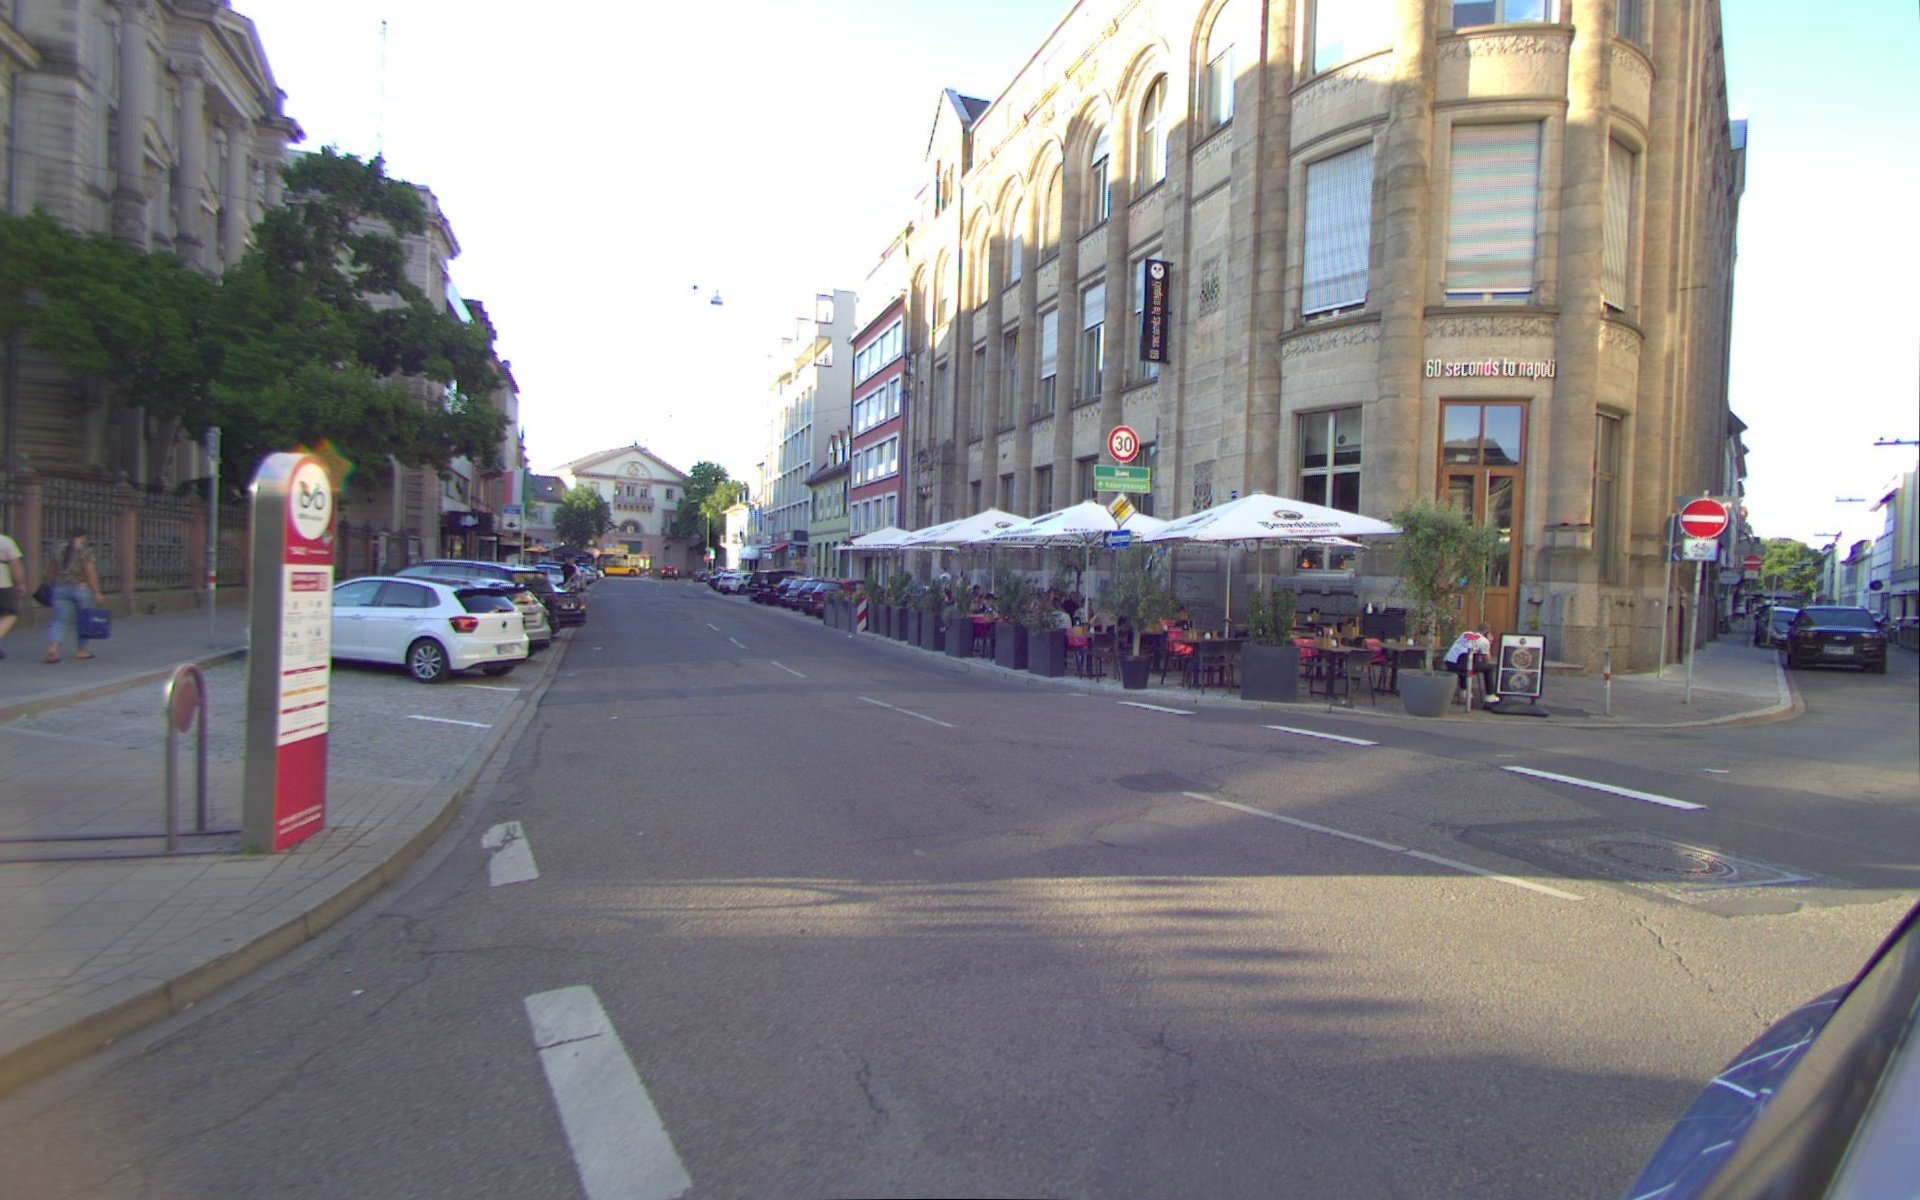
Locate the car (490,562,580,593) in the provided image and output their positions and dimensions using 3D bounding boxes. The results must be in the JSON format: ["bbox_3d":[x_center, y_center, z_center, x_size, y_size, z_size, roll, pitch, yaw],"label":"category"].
[{"bbox_3d":[-20.719,-1.071,49.509,3.915,1.430,1.759,1,1,-19],"label":"car"}]

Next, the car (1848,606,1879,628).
[{"bbox_3d":[90.120,1.679,100.974,1.990,2.067,4.395,2,1,39],"label":"car"}]

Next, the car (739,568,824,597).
[{"bbox_3d":[-8.971,-0.867,51.027,1.746,1.430,4.143,1,1,37],"label":"car"}]

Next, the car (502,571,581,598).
[{"bbox_3d":[-23.338,-0.845,56.552,3.915,1.430,1.759,1,1,-19],"label":"car"}]

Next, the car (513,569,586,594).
[{"bbox_3d":[-24.174,-1.100,59.724,3.915,1.430,1.759,1,1,-19],"label":"car"}]

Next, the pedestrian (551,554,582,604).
[{"bbox_3d":[-14.192,-0.760,36.528,0.953,1.772,1.005,1,0,-17],"label":"pedestrian"}]

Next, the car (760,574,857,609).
[{"bbox_3d":[-6.386,-0.363,42.879,1.746,1.430,3.976,1,1,37],"label":"car"}]

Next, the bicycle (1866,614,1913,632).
[{"bbox_3d":[68.752,1.706,74.869,0.771,1.193,2.477,0,1,-44],"label":"bicycle"}]

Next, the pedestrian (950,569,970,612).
[{"bbox_3d":[0.011,-0.388,41.296,0.585,1.752,0.630,1,1,-23],"label":"pedestrian"}]

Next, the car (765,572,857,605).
[{"bbox_3d":[-6.706,-0.519,45.949,1.746,1.430,4.089,1,1,37],"label":"car"}]

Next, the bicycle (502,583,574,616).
[{"bbox_3d":[-14.420,-0.015,34.634,2.254,1.104,0.718,0,1,-23],"label":"bicycle"}]

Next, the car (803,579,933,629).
[{"bbox_3d":[-2.773,0.100,31.160,1.746,1.430,4.014,1,1,37],"label":"car"}]

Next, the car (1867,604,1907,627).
[{"bbox_3d":[72.922,1.187,79.670,1.990,1.697,4.395,2,1,39],"label":"car"}]

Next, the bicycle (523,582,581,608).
[{"bbox_3d":[-17.400,-0.209,43.137,2.254,1.104,0.718,0,1,-23],"label":"bicycle"}]

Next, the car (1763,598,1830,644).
[{"bbox_3d":[33.353,0.811,40.434,1.769,1.687,3.947,2,1,36],"label":"car"}]

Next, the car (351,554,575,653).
[{"bbox_3d":[-10.095,0.034,20.614,3.946,1.742,1.746,3,1,17],"label":"car"}]

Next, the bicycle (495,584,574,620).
[{"bbox_3d":[-13.347,0.051,31.809,2.254,1.104,0.718,0,1,-23],"label":"bicycle"}]

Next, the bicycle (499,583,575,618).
[{"bbox_3d":[-13.679,0.029,32.774,2.254,1.104,0.718,0,1,-23],"label":"bicycle"}]

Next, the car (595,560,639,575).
[{"bbox_3d":[-42.656,-4.064,125.906,4.783,1.757,1.754,0,1,-38],"label":"car"}]

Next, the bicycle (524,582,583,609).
[{"bbox_3d":[-16.997,-0.189,42.360,2.254,1.104,0.718,0,1,-23],"label":"bicycle"}]

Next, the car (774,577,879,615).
[{"bbox_3d":[-5.242,-0.175,40.231,1.746,1.430,4.126,1,1,37],"label":"car"}]

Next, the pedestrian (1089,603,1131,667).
[{"bbox_3d":[2.906,0.676,19.627,0.588,1.203,0.574,2,0,-16],"label":"pedestrian"}]

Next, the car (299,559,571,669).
[{"bbox_3d":[-9.168,0.199,17.804,3.935,1.544,1.751,4,1,9],"label":"car"}]

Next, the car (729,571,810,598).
[{"bbox_3d":[-10.359,-0.844,55.163,1.905,1.430,4.143,1,1,37],"label":"car"}]

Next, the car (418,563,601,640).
[{"bbox_3d":[-10.441,-0.007,23.450,3.958,1.628,1.740,1,1,25],"label":"car"}]

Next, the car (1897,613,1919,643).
[{"bbox_3d":[50.888,1.472,53.400,1.714,1.479,4.079,2,1,37],"label":"car"}]

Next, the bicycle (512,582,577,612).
[{"bbox_3d":[-15.719,-0.099,38.345,2.254,1.104,0.718,0,1,-23],"label":"bicycle"}]

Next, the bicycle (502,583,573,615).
[{"bbox_3d":[-14.801,-0.036,35.505,2.254,1.104,0.718,0,1,-23],"label":"bicycle"}]

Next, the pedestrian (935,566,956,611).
[{"bbox_3d":[-0.575,-0.465,39.761,0.616,1.752,0.598,1,1,-25],"label":"pedestrian"}]

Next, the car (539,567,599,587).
[{"bbox_3d":[-29.835,-1.734,77.223,3.924,1.430,1.756,1,1,0],"label":"car"}]

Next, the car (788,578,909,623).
[{"bbox_3d":[-3.698,-0.002,34.193,1.746,1.430,4.051,1,1,37],"label":"car"}]

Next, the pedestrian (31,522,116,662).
[{"bbox_3d":[-11.088,-0.094,12.683,0.629,1.691,0.706,3,0,-33],"label":"pedestrian"}]

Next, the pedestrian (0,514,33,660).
[{"bbox_3d":[-11.541,-0.169,11.994,0.629,1.691,0.706,3,0,-33],"label":"pedestrian"}]

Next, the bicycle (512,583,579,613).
[{"bbox_3d":[-15.276,-0.075,37.318,2.254,1.104,0.718,0,1,-23],"label":"bicycle"}]

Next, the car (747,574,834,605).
[{"bbox_3d":[-8.061,-0.495,48.416,1.746,1.430,4.051,1,1,37],"label":"car"}]

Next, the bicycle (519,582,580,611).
[{"bbox_3d":[-16.332,-0.143,40.285,2.254,1.104,0.718,0,1,-23],"label":"bicycle"}]

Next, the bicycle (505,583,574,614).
[{"bbox_3d":[-15.091,-0.056,36.387,2.254,1.104,0.718,0,1,-23],"label":"bicycle"}]

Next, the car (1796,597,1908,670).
[{"bbox_3d":[24.730,0.861,28.216,1.990,1.805,4.866,2,1,38],"label":"car"}]

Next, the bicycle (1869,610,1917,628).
[{"bbox_3d":[66.237,1.362,71.845,0.771,1.193,2.477,0,1,-44],"label":"bicycle"}]

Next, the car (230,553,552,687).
[{"bbox_3d":[-8.366,0.250,15.025,3.848,1.464,1.751,6,2,9],"label":"car"}]

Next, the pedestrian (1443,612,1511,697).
[{"bbox_3d":[7.678,0.791,15.030,0.807,1.203,0.607,2,0,-40],"label":"pedestrian"}]

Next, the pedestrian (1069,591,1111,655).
[{"bbox_3d":[2.639,0.465,20.585,0.588,1.261,0.687,2,0,-16],"label":"pedestrian"}]

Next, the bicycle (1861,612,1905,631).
[{"bbox_3d":[70.385,1.621,77.191,0.771,1.347,2.477,0,1,-44],"label":"bicycle"}]

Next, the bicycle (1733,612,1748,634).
[{"bbox_3d":[41.563,1.201,53.898,0.518,1.103,1.727,7,4,39],"label":"bicycle"}]

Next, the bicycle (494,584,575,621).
[{"bbox_3d":[-13.025,0.069,31.035,2.254,1.104,0.718,0,1,-23],"label":"bicycle"}]

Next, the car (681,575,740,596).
[{"bbox_3d":[-18.023,-1.030,73.163,1.746,1.430,3.956,1,1,37],"label":"car"}]

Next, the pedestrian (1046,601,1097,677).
[{"bbox_3d":[1.941,0.664,17.569,0.680,1.261,0.594,2,0,31],"label":"pedestrian"}]

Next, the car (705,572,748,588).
[{"bbox_3d":[-22.835,-1.961,99.053,3.915,1.430,1.759,1,1,-19],"label":"car"}]

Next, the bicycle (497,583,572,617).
[{"bbox_3d":[-14.134,0.006,33.667,2.254,1.104,0.718,0,1,-23],"label":"bicycle"}]

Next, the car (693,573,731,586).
[{"bbox_3d":[-27.685,-2.276,112.881,3.915,1.430,1.759,1,1,-19],"label":"car"}]

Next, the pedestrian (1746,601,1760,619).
[{"bbox_3d":[58.198,0.736,74.262,0.734,1.258,0.636,1,1,41],"label":"pedestrian"}]

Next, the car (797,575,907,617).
[{"bbox_3d":[-3.917,-0.159,37.112,1.746,1.430,4.014,1,1,37],"label":"car"}]

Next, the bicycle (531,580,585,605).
[{"bbox_3d":[-18.338,-0.328,46.135,2.254,1.104,0.718,0,1,-23],"label":"bicycle"}]

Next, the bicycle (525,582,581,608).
[{"bbox_3d":[-17.777,-0.234,44.255,2.254,1.104,0.718,0,1,-23],"label":"bicycle"}]

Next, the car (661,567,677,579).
[{"bbox_3d":[-34.925,-3.210,121.299,1.718,1.430,4.009,1,1,-18],"label":"car"}]

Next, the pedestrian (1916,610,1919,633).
[{"bbox_3d":[46.063,1.052,48.233,0.629,1.081,0.554,1,1,32],"label":"pedestrian"}]

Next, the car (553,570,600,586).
[{"bbox_3d":[-35.158,-2.033,92.803,3.915,1.430,1.759,1,1,-19],"label":"car"}]

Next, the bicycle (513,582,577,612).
[{"bbox_3d":[-16.050,-0.118,39.137,2.254,1.104,0.718,0,1,-23],"label":"bicycle"}]

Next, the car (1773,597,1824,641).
[{"bbox_3d":[37.001,0.820,44.668,1.668,1.829,4.178,1,0,40],"label":"car"}]

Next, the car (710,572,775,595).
[{"bbox_3d":[-14.175,-1.061,66.053,1.746,1.430,4.021,1,1,37],"label":"car"}]
